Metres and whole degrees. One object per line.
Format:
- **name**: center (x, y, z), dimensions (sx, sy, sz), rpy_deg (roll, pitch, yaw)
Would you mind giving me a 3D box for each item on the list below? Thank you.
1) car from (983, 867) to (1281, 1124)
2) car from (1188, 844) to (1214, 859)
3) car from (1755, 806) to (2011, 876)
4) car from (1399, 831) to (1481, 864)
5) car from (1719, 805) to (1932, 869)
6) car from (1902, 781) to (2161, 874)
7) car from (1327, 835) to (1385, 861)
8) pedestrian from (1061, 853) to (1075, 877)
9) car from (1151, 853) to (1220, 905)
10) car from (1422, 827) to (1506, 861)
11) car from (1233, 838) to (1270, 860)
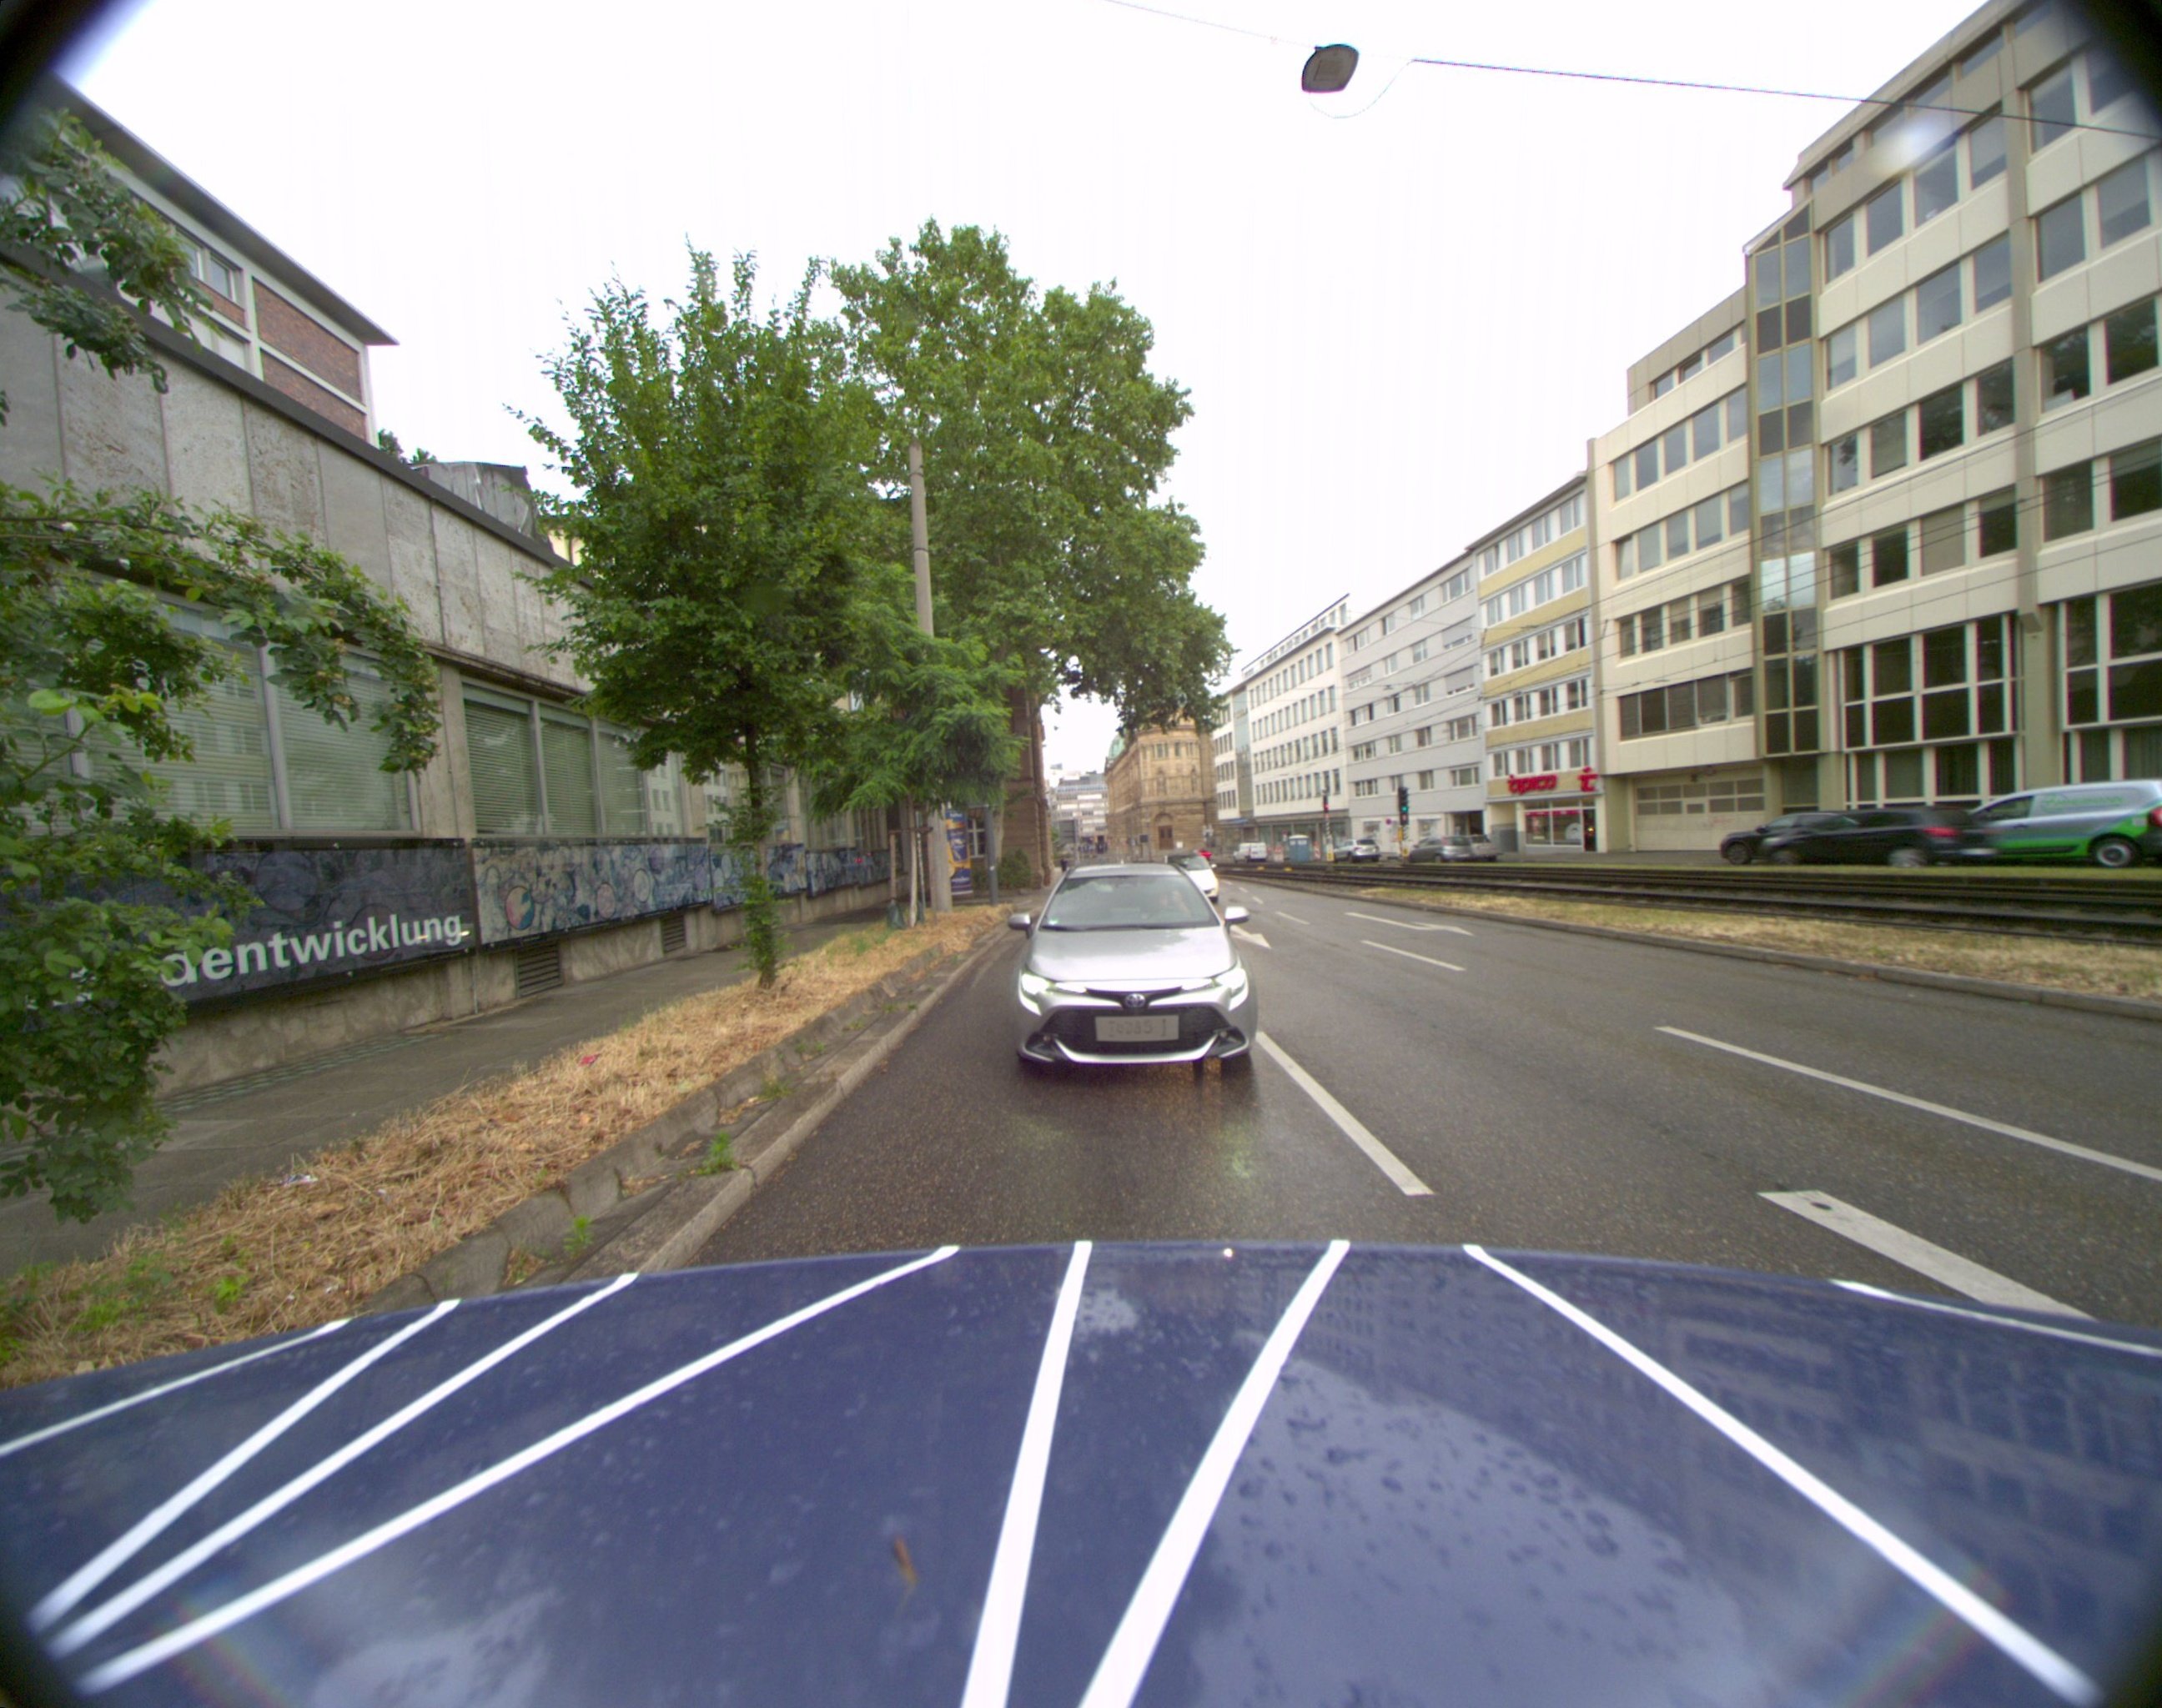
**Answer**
- **car**: center (0.340, 0.930, 6.910), dimensions (1.811, 1.426, 4.297), rpy_deg (-2, 1, 0)
- **car**: center (14.542, -0.344, 92.113), dimensions (1.890, 1.615, 4.474), rpy_deg (-5, 1, -7)
- **car**: center (18.431, -0.274, 17.743), dimensions (1.632, 1.349, 3.869), rpy_deg (-4, 1, -6)
- **car**: center (16.894, -0.278, 35.939), dimensions (1.632, 1.349, 3.869), rpy_deg (-4, 1, -6)
- **car**: center (21.064, -0.457, 21.775), dimensions (1.801, 1.505, 4.075), rpy_deg (-5, 1, -7)
- **car**: center (21.502, -0.573, 16.814), dimensions (1.801, 1.736, 4.213), rpy_deg (-5, 1, -8)
- **car**: center (18.164, -0.405, 50.455), dimensions (1.890, 1.505, 4.075), rpy_deg (-5, 1, -7)
- **pedestrian**: center (-0.953, 0.782, 54.988), dimensions (0.719, 1.630, 0.760), rpy_deg (-5, 2, 10)
- **car**: center (3.170, 0.718, 23.555), dimensions (1.654, 1.426, 3.439), rpy_deg (-2, 1, 0)
- **car**: center (19.488, -0.484, 38.911), dimensions (1.801, 1.505, 4.075), rpy_deg (-5, 1, -7)
- **car**: center (16.321, -0.482, 72.958), dimensions (1.890, 1.924, 4.474), rpy_deg (-5, 1, -7)
